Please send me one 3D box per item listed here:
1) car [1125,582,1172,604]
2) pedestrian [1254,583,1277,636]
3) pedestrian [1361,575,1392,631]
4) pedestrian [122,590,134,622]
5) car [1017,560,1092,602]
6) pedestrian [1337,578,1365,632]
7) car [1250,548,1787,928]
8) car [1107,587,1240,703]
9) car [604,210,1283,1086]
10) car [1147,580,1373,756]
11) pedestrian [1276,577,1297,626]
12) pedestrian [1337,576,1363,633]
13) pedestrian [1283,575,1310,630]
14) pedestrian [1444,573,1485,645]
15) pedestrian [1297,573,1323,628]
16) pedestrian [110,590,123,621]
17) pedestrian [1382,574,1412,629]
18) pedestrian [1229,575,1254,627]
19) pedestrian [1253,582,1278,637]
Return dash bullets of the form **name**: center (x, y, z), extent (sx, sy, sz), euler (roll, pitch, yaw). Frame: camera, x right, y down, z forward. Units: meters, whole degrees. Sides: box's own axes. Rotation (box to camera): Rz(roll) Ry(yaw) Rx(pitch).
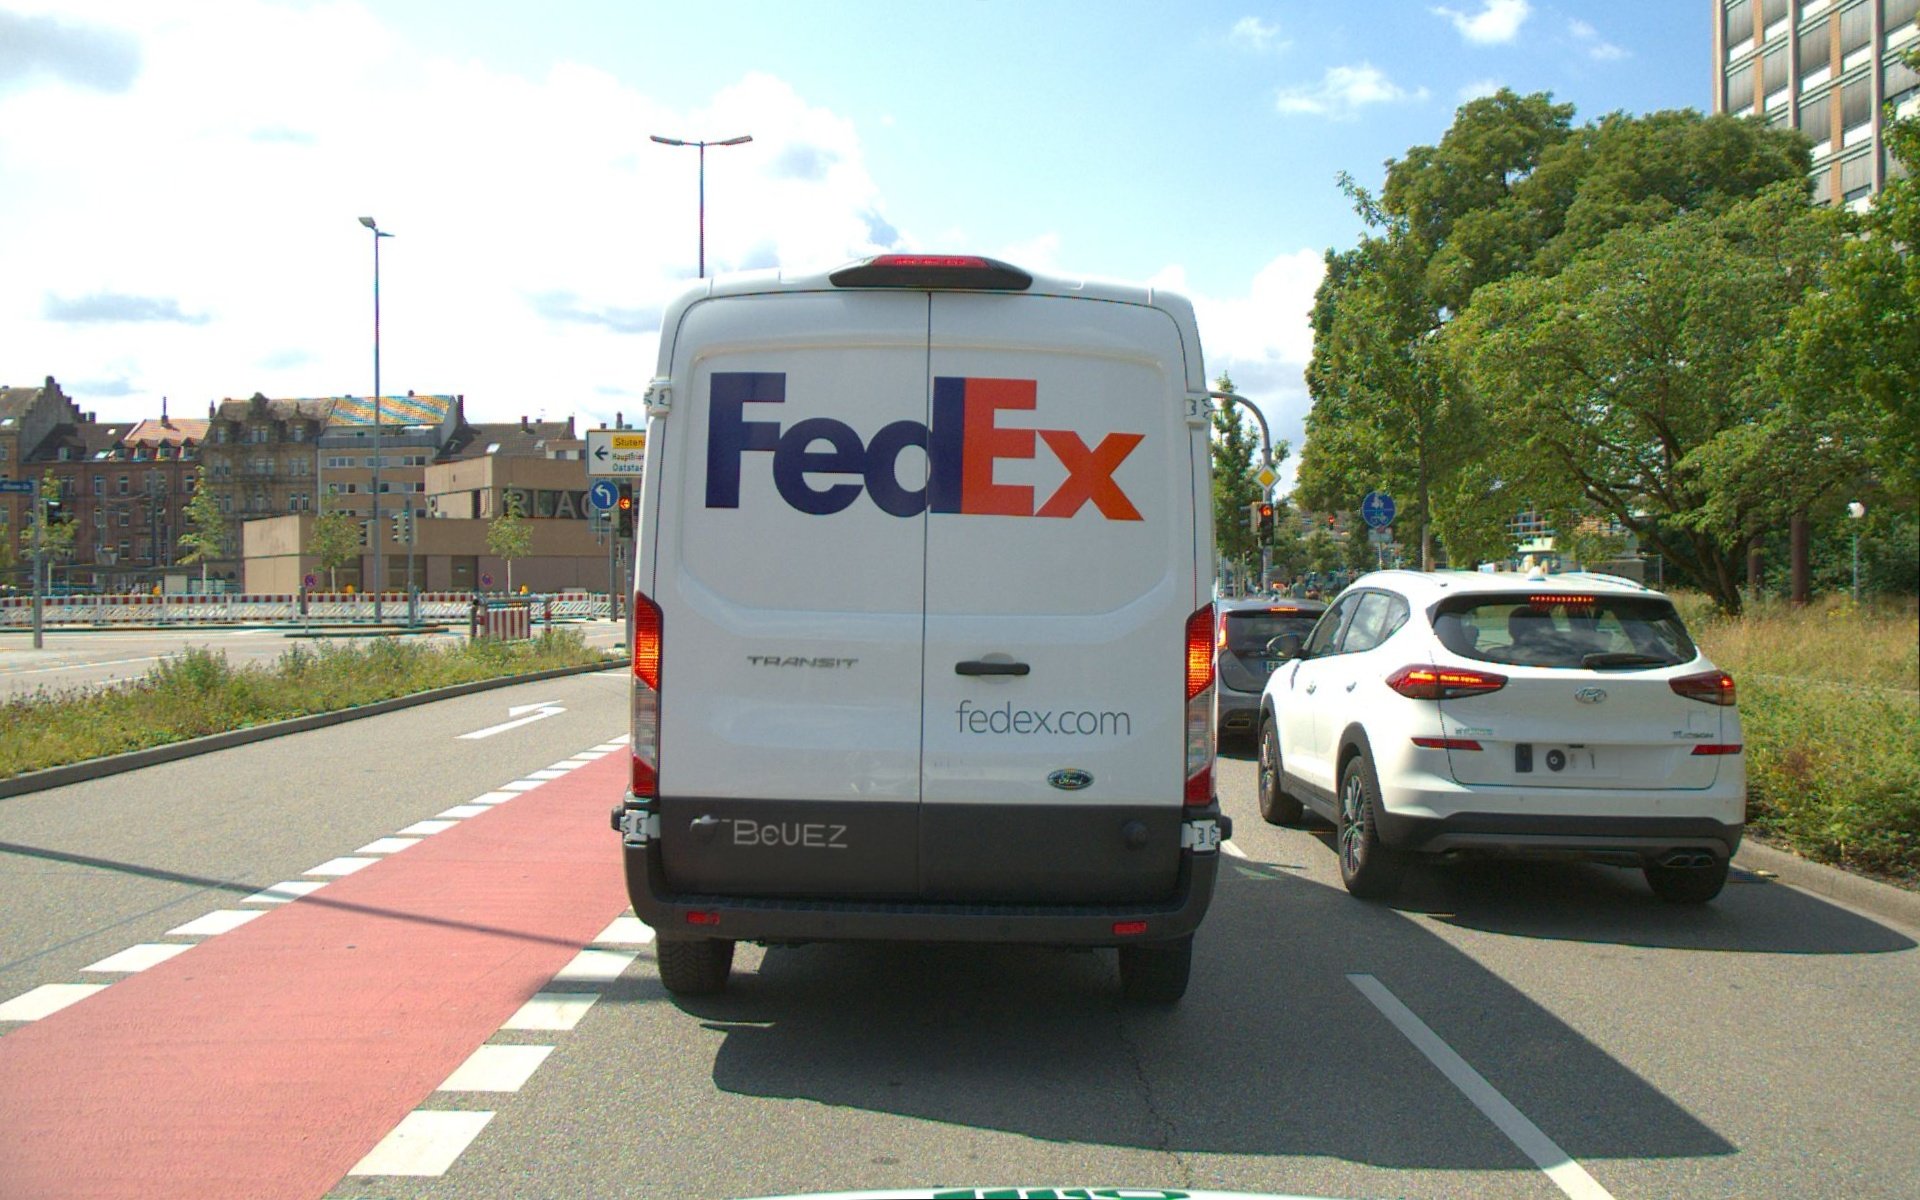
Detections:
- **car**: center (17.454, -0.662, 153.011), extent (4.247, 1.905, 1.927), euler (1, 0, 4)
- **pedestrian**: center (10.934, 0.351, 59.213), extent (0.742, 1.882, 0.817), euler (0, 0, 14)
- **pedestrian**: center (14.145, 0.104, 56.235), extent (0.745, 1.882, 0.814), euler (-1, 0, -11)
- **pedestrian**: center (-44.480, 0.307, 88.400), extent (0.416, 1.681, 0.416), euler (1, -1, 33)
- **car**: center (6.597, -1.282, 114.327), extent (2.440, 2.765, 7.075), euler (1, 0, 28)
- **pedestrian**: center (13.915, 0.171, 58.866), extent (0.744, 1.882, 0.815), euler (-1, 0, -6)
- **car**: center (2.874, 0.601, 9.471), extent (1.777, 1.708, 3.974), euler (0, 1, 1)
- **car**: center (2.938, 0.570, 23.323), extent (1.468, 1.489, 3.474), euler (0, 1, 1)
- **car**: center (-0.021, 0.122, 7.198), extent (2.030, 2.626, 4.428), euler (0, 1, 1)
- **car**: center (2.921, 0.590, 16.791), extent (1.656, 1.576, 3.721), euler (0, 1, 1)
- **pedestrian**: center (12.768, 0.060, 64.710), extent (0.742, 1.882, 0.817), euler (0, 0, 5)
- **pedestrian**: center (12.505, 0.148, 53.053), extent (0.742, 1.820, 0.817), euler (0, 0, 7)
- **pedestrian**: center (11.487, 0.082, 56.463), extent (0.743, 1.882, 0.816), euler (0, 0, 1)
- **pedestrian**: center (11.830, 0.206, 38.815), extent (0.743, 1.684, 0.816), euler (0, 0, 3)
- **pedestrian**: center (12.139, 0.017, 57.412), extent (0.743, 1.882, 0.816), euler (0, 0, 3)
- **pedestrian**: center (-45.414, 0.293, 89.066), extent (0.416, 1.681, 0.416), euler (1, -1, 33)
- **pedestrian**: center (14.949, 0.050, 56.585), extent (0.745, 1.882, 0.814), euler (0, 0, -9)
- **pedestrian**: center (10.216, 0.033, 60.054), extent (0.796, 1.882, 0.761), euler (0, 0, 2)
- **pedestrian**: center (10.496, 0.323, 56.851), extent (0.743, 1.882, 0.816), euler (0, 0, 18)
